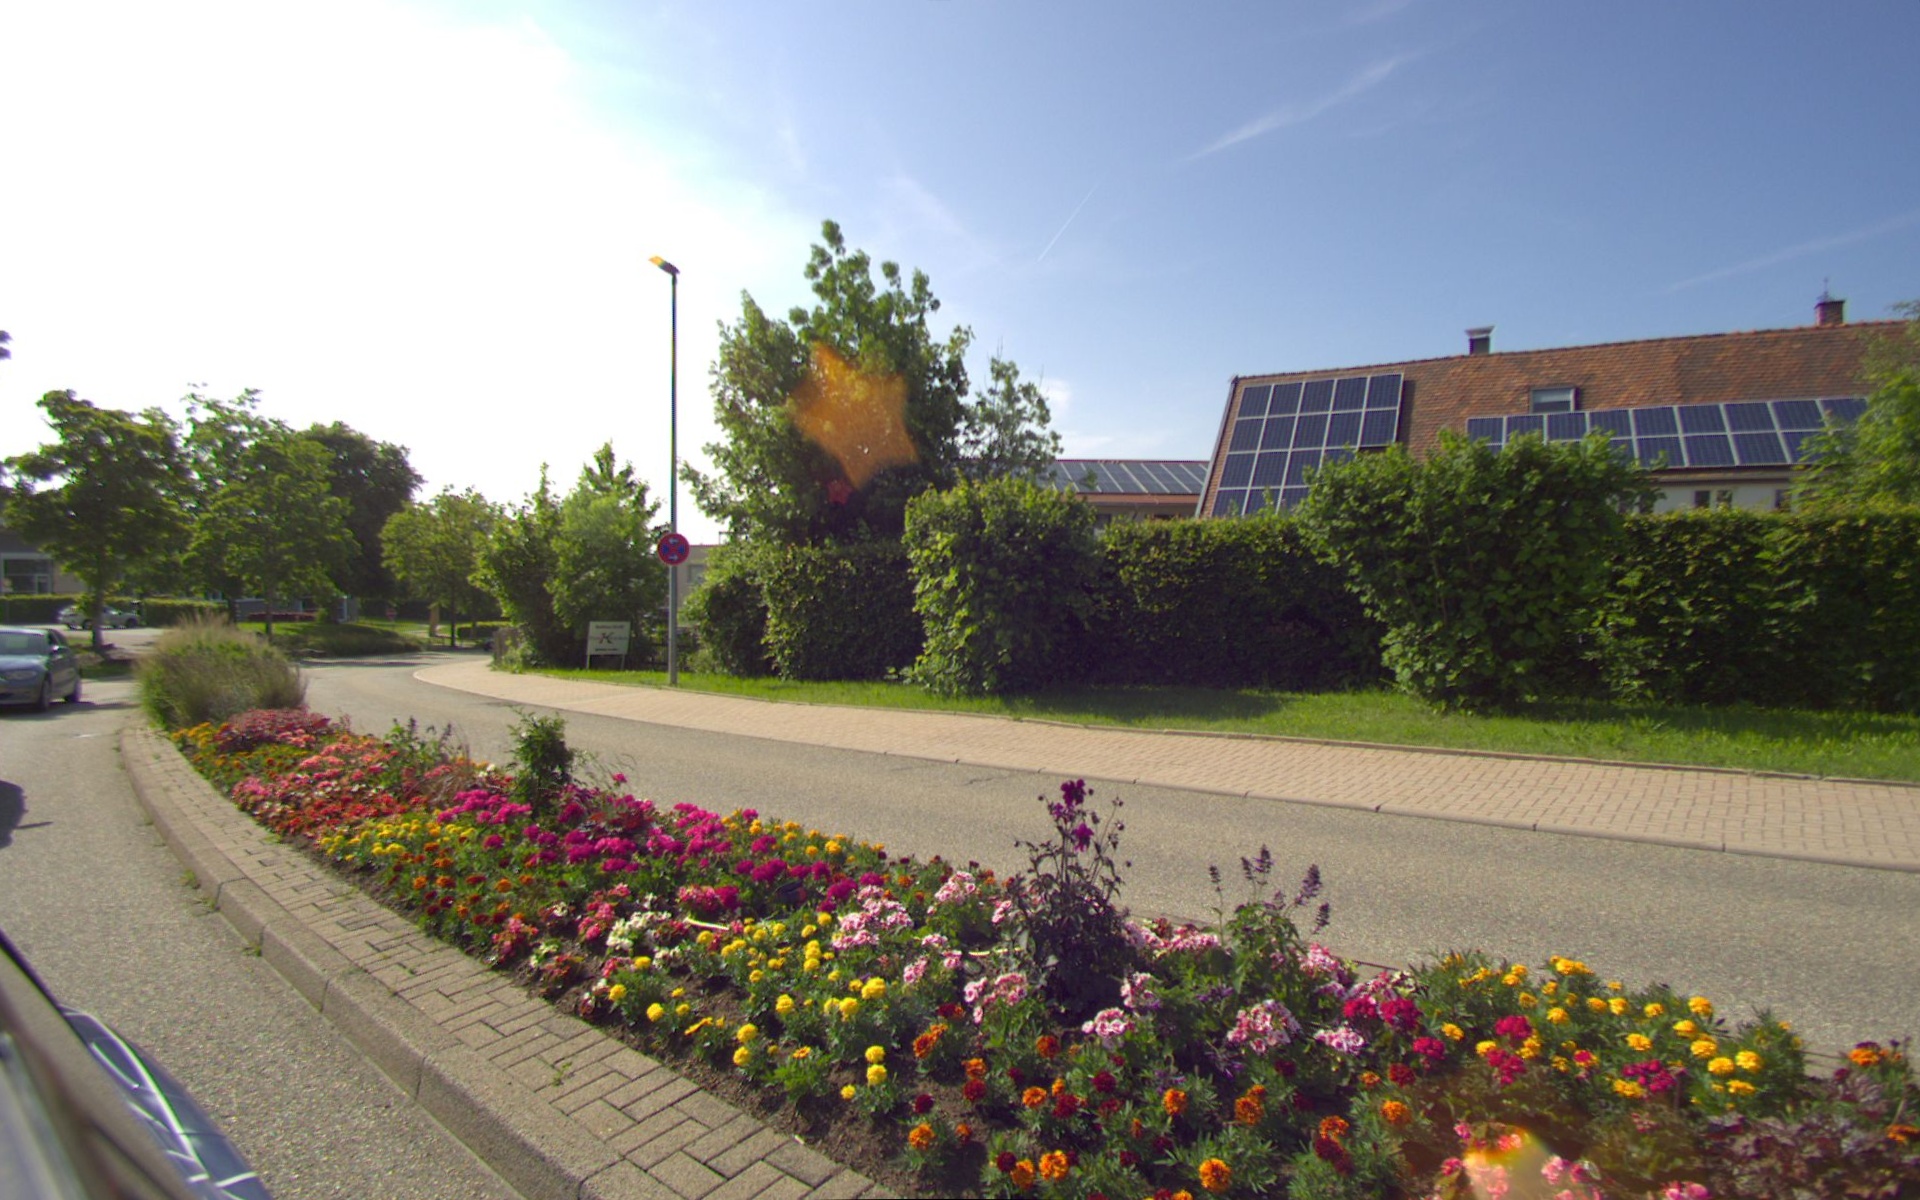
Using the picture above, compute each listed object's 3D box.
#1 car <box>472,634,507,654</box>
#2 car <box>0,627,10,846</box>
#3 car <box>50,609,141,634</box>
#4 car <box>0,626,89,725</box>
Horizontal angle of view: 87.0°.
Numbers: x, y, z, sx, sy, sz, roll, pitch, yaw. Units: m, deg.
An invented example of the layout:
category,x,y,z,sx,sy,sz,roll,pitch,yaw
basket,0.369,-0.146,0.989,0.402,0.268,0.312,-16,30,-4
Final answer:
category,x,y,z,sx,sy,sz,roll,pitch,yaw
car,-33.016,3.101,71.127,1.456,1.375,2.807,1,-2,-8
car,-8.049,0.903,7.215,1.812,1.378,4.586,1,-1,-43
car,-58.433,1.464,68.486,1.780,1.527,4.339,1,-3,20
car,-16.627,1.224,17.364,1.872,1.519,4.011,4,-3,-32
